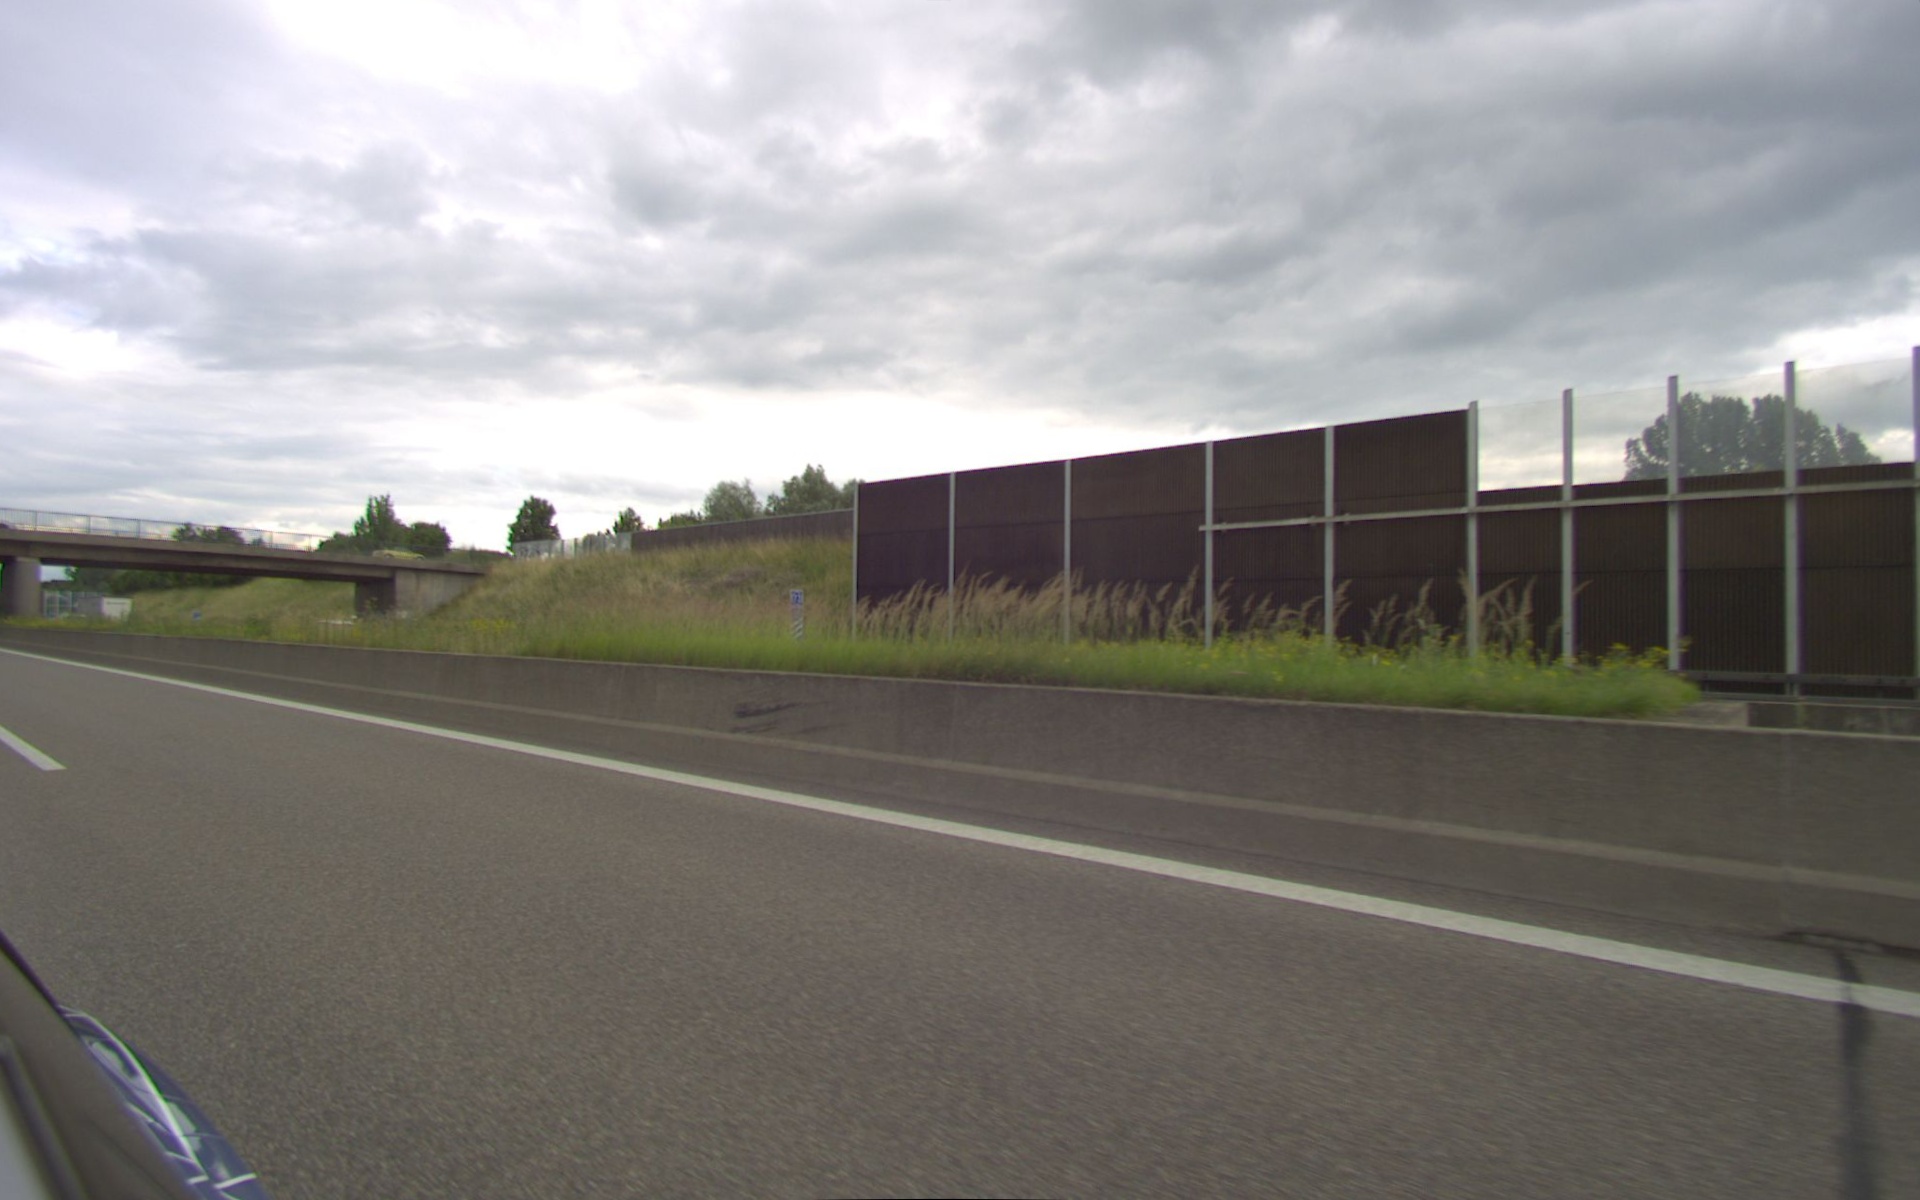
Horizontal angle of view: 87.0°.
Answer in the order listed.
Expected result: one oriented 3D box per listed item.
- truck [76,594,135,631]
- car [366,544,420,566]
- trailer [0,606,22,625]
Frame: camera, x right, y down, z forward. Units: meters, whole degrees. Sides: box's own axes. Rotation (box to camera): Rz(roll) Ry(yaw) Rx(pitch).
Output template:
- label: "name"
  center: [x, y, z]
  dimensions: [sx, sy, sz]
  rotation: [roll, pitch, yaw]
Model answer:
- label: "truck"
  center: [-91.414, 1.381, 108.208]
  dimensions: [13.003, 3.712, 2.966]
  rotation: [-1, -1, 42]
- label: "car"
  center: [-43.888, -3.473, 78.358]
  dimensions: [1.654, 1.458, 3.306]
  rotation: [-1, -1, 30]
- label: "trailer"
  center: [-154.402, 2.549, 163.553]
  dimensions: [13.965, 2.978, 2.890]
  rotation: [-1, 0, 42]
